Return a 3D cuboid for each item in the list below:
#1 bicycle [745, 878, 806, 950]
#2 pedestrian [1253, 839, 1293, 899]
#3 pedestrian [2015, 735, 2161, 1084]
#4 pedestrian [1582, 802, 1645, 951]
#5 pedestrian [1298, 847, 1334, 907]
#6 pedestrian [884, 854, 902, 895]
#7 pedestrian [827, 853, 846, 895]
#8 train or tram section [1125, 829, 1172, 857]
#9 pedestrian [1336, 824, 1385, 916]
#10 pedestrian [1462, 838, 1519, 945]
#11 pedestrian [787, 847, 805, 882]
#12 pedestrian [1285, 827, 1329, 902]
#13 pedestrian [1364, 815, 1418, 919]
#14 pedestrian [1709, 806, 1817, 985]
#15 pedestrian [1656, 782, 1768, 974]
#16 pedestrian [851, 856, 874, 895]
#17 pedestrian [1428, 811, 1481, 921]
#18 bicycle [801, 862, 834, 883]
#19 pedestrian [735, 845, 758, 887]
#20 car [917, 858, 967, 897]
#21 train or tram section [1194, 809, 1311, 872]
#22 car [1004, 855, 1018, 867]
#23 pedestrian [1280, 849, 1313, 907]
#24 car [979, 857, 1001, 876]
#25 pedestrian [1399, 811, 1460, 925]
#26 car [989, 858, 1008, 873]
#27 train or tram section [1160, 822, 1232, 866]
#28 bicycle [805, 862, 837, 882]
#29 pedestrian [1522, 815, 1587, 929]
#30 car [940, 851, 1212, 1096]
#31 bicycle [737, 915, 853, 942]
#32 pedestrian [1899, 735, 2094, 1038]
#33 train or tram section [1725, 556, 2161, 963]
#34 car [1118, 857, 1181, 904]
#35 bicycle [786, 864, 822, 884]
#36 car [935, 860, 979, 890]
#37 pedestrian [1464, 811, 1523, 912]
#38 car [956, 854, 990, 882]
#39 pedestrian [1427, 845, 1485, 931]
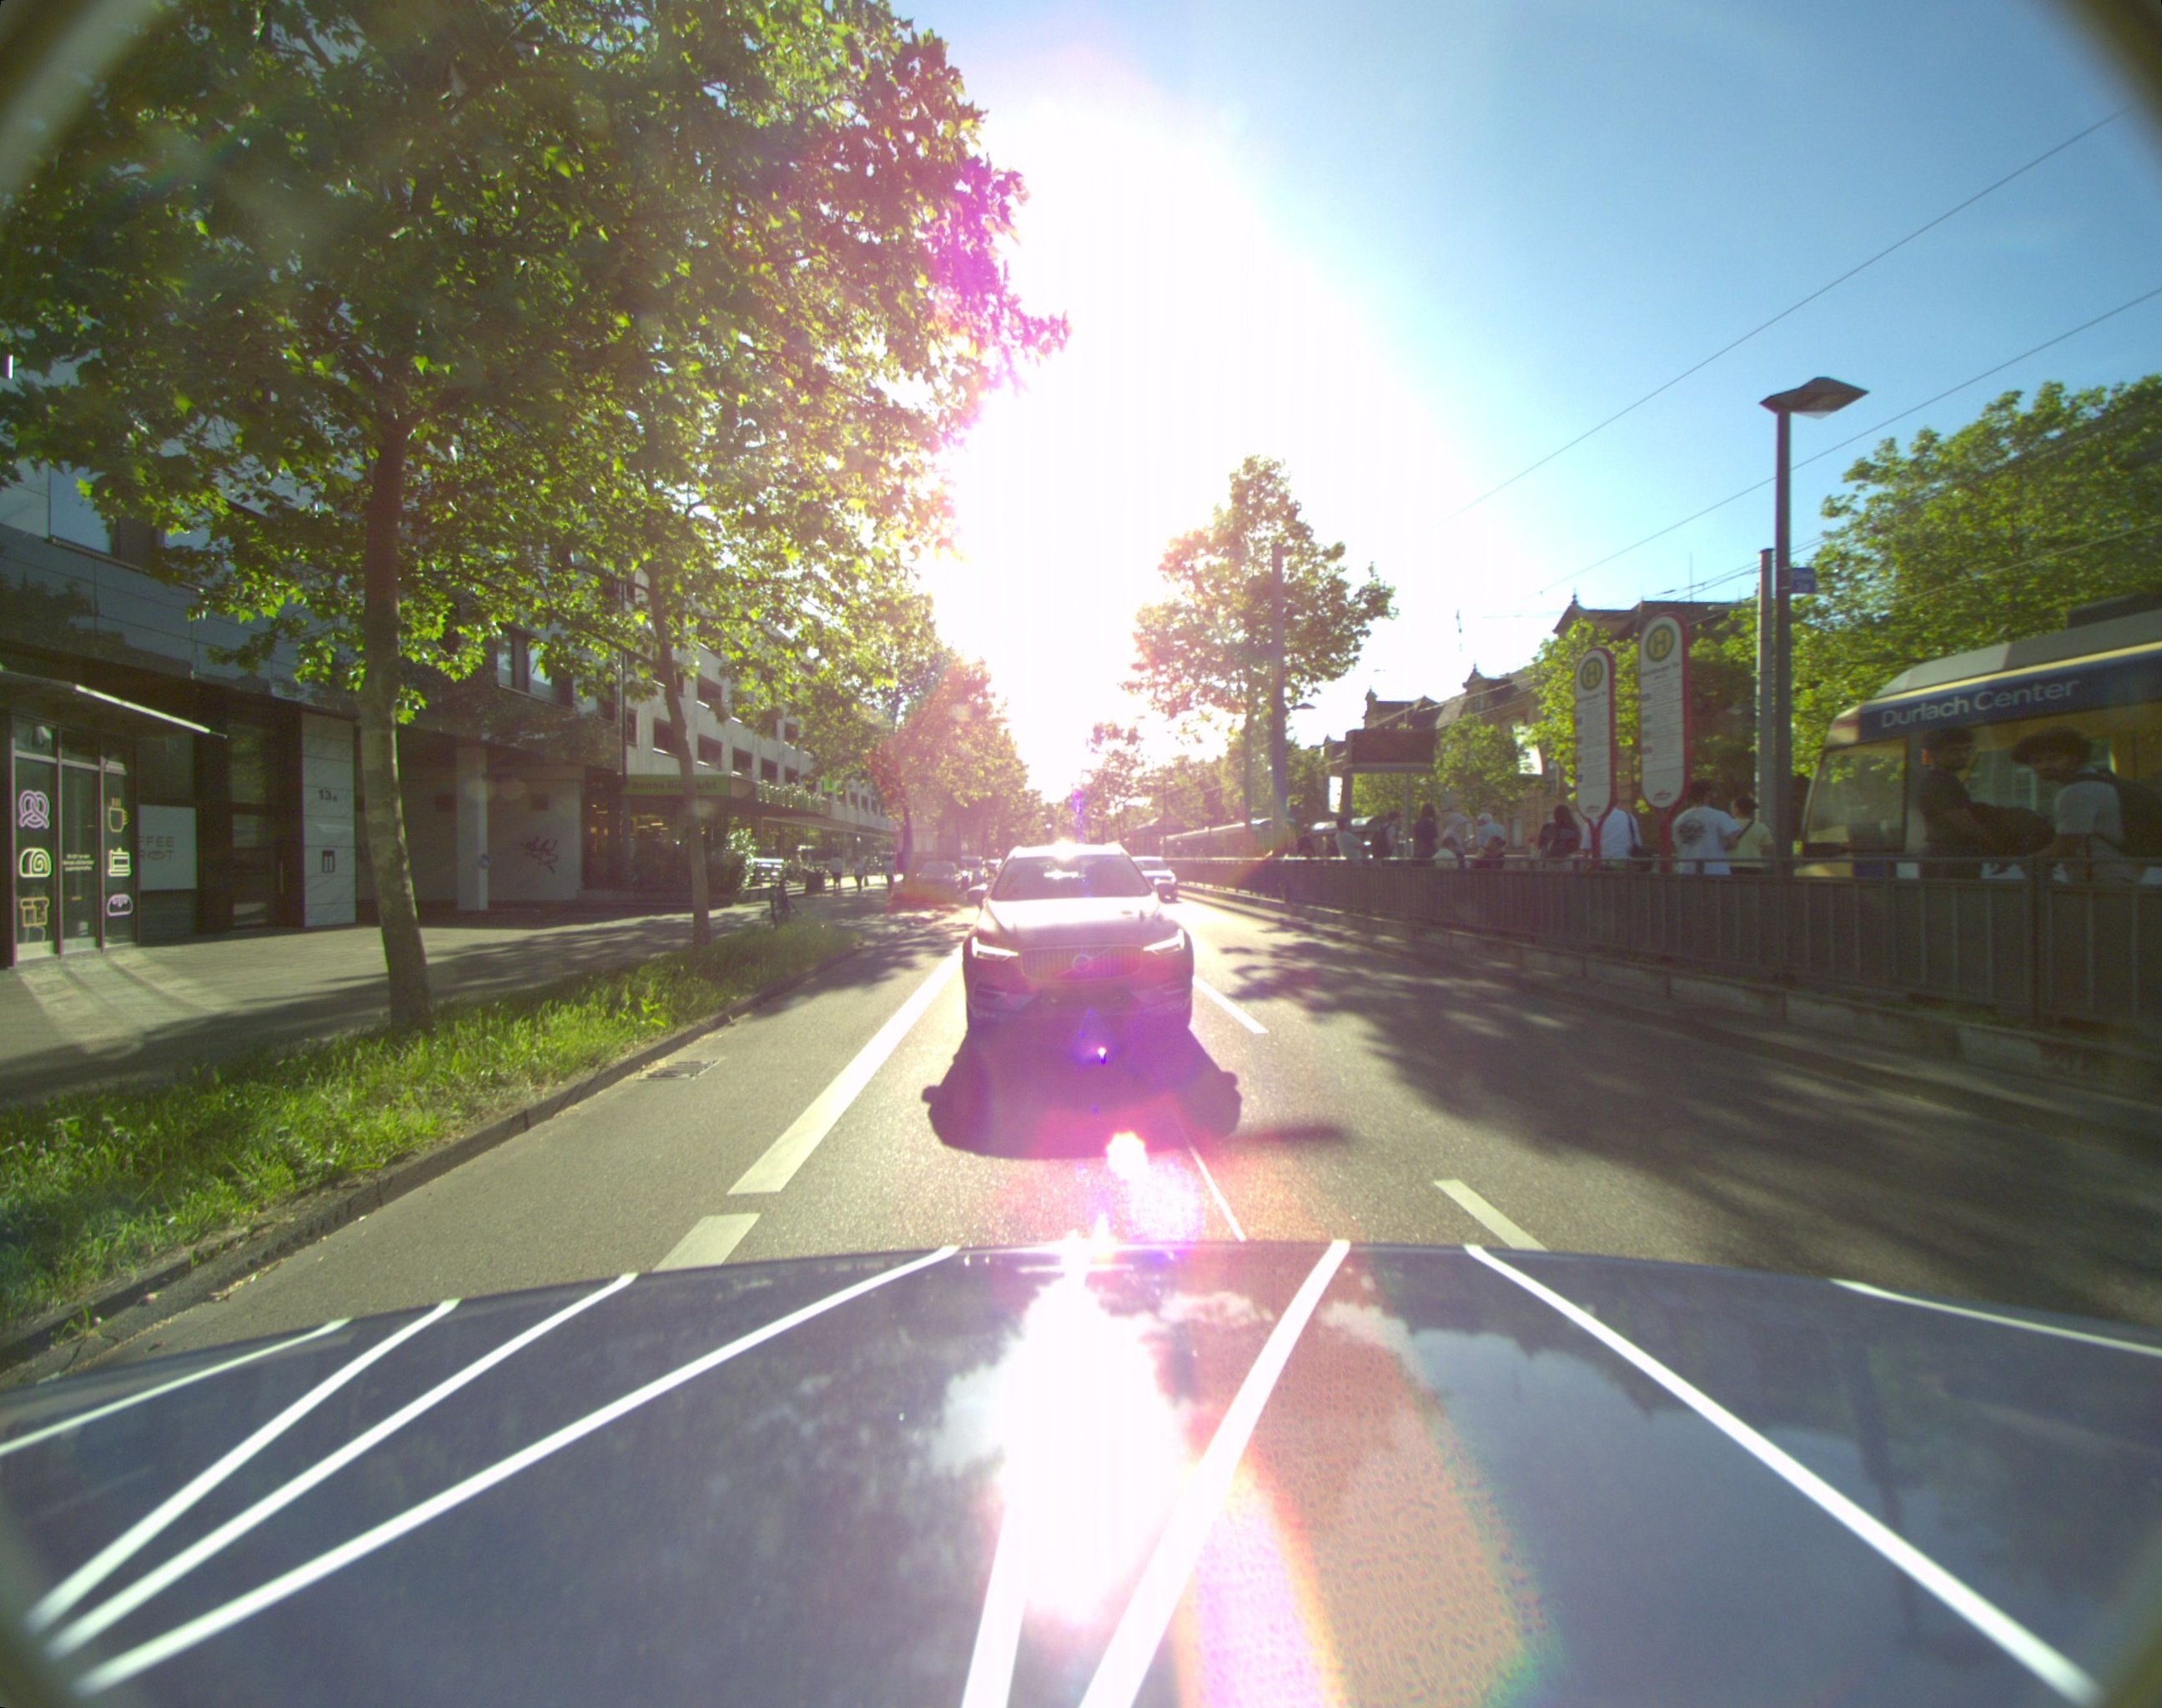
[{"bbox_3d":[-5.374,1.018,13.469,0.791,1.126,1.843,0,0,-15],"label":"bicycle"},{"bbox_3d":[4.929,0.368,19.497,0.778,1.501,0.751,0,1,-6],"label":"pedestrian"},{"bbox_3d":[5.453,0.274,4.009,0.538,1.724,0.551,0,1,37],"label":"pedestrian"},{"bbox_3d":[6.292,0.255,9.003,0.506,1.692,0.612,0,1,25],"label":"pedestrian"},{"bbox_3d":[4.945,0.471,16.011,0.535,1.239,0.604,0,1,-5],"label":"pedestrian"},{"bbox_3d":[-7.875,0.826,31.833,0.561,1.694,1.051,0,0,-3],"label":"pedestrian"},{"bbox_3d":[-10.194,0.816,31.690,0.561,1.734,0.878,0,0,-3],"label":"pedestrian"},{"bbox_3d":[6.380,-0.978,74.763,2.570,2.516,15.068,-1,0,-3],"label":"train or tram section"},{"bbox_3d":[5.052,0.285,13.766,0.662,1.624,0.570,0,1,-2],"label":"pedestrian"},{"bbox_3d":[5.151,0.456,9.575,0.417,1.308,0.507,0,1,-5],"label":"pedestrian"},{"bbox_3d":[-14.416,0.549,38.453,0.614,1.705,0.611,6,-1,-27],"label":"pedestrian"},{"bbox_3d":[5.374,0.236,18.087,0.778,1.742,0.723,0,1,-6],"label":"pedestrian"},{"bbox_3d":[5.161,0.212,12.684,0.662,1.686,0.570,0,1,-2],"label":"pedestrian"},{"bbox_3d":[6.962,0.408,7.780,0.555,1.760,0.611,0,1,-7],"label":"pedestrian"},{"bbox_3d":[5.814,0.215,7.024,0.507,1.692,0.611,0,1,-7],"label":"pedestrian"},{"bbox_3d":[-9.138,0.881,31.826,0.699,1.603,0.868,1,0,-1],"label":"pedestrian"},{"bbox_3d":[5.947,0.184,12.115,0.516,1.698,0.621,0,1,-3],"label":"pedestrian"},{"bbox_3d":[-14.343,1.000,41.307,1.700,1.049,0.587,1,-1,24],"label":"bicycle"},{"bbox_3d":[-13.487,0.477,30.655,0.559,1.668,0.882,2,1,-3],"label":"pedestrian"},{"bbox_3d":[-5.969,0.977,32.914,1.569,1.541,3.999,-1,0,-2],"label":"car"},{"bbox_3d":[10.872,-0.753,51.146,2.857,3.414,18.209,-2,0,-3],"label":"train or tram section"},{"bbox_3d":[-9.823,1.003,106.667,1.839,1.556,4.272,-2,0,-3],"label":"car"},{"bbox_3d":[4.880,0.525,17.204,0.535,1.292,0.604,0,1,-6],"label":"pedestrian"},{"bbox_3d":[-7.775,1.052,65.096,1.678,1.430,3.688,2,1,-4],"label":"car"},{"bbox_3d":[5.287,0.210,11.551,0.662,1.686,0.570,0,1,-2],"label":"pedestrian"},{"bbox_3d":[-8.220,1.100,75.562,1.630,1.433,3.929,1,0,-3],"label":"car"},{"bbox_3d":[10.072,-0.783,69.393,2.879,3.414,18.270,-2,0,-3],"label":"train or tram section"},{"bbox_3d":[-14.491,0.993,42.286,1.700,1.049,0.587,2,0,24],"label":"bicycle"},{"bbox_3d":[6.454,0.243,10.383,0.546,1.510,0.530,0,1,-3],"label":"pedestrian"},{"bbox_3d":[-0.136,0.843,7.598,1.914,1.695,4.272,-2,1,-3],"label":"car"},{"bbox_3d":[-5.148,1.338,13.810,1.613,0.351,1.388,0,0,-3],"label":"bicycle"},{"bbox_3d":[5.551,0.185,4.633,0.549,1.724,0.539,0,1,-7],"label":"pedestrian"},{"bbox_3d":[10.303,-0.731,2.060,2.922,3.242,15.885,-3,1,-3],"label":"train or tram section"},{"bbox_3d":[2.272,0.857,26.202,1.707,1.407,3.875,-2,0,-1],"label":"car"},{"bbox_3d":[-13.639,0.995,37.428,1.648,0.910,0.587,1,-2,24],"label":"bicycle"},{"bbox_3d":[-6.453,1.046,39.980,1.766,1.409,4.698,-2,0,-4],"label":"car"},{"bbox_3d":[6.833,0.119,12.601,0.620,1.640,0.622,0,1,-7],"label":"pedestrian"},{"bbox_3d":[-6.990,0.878,49.481,1.769,1.781,4.392,0,0,-2],"label":"car"},{"bbox_3d":[5.300,0.468,10.760,0.546,1.185,0.530,0,1,-3],"label":"pedestrian"}]
